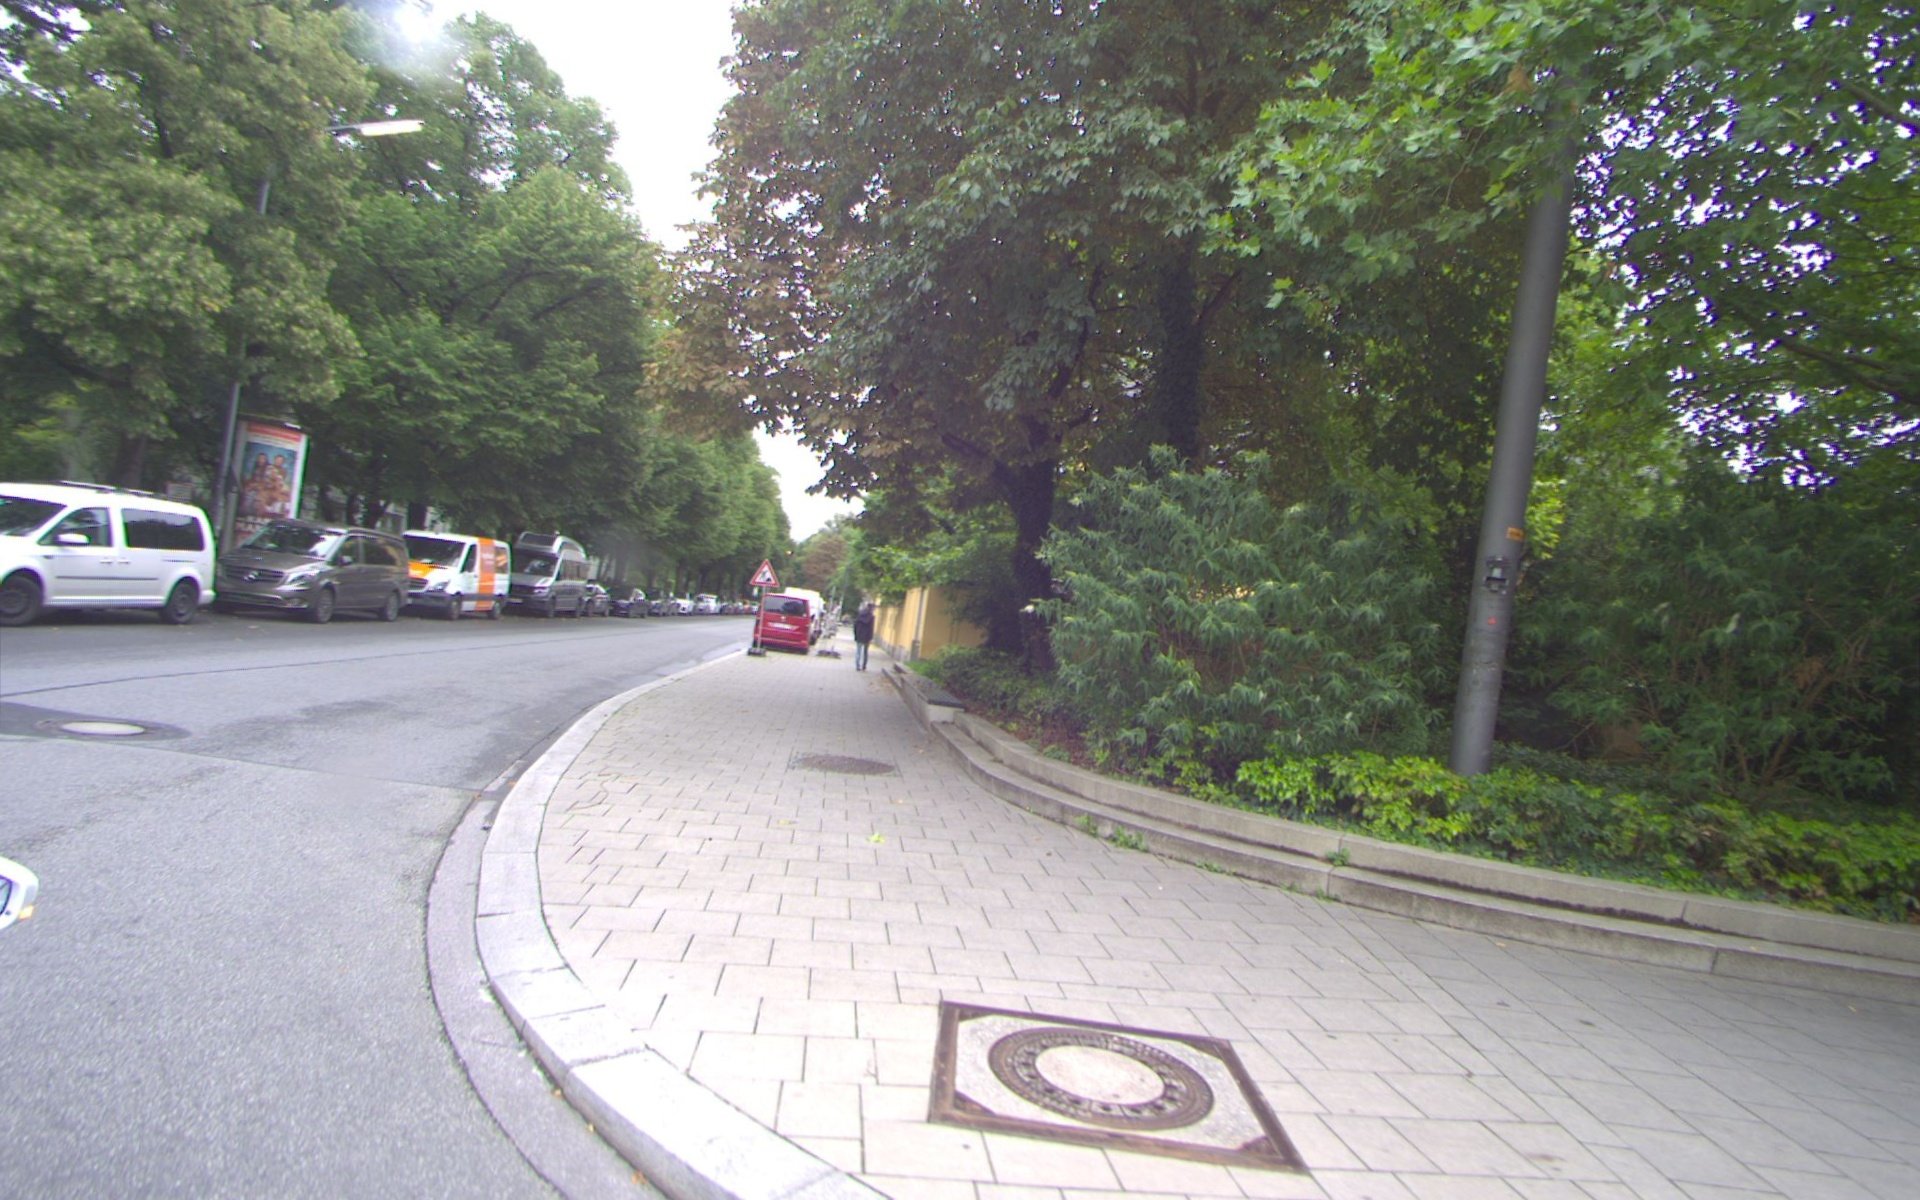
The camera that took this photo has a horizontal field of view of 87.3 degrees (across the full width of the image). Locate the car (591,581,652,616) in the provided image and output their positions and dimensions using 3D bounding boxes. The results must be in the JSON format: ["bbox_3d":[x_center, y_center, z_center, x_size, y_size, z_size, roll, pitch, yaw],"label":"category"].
[{"bbox_3d":[-16.086,-0.034,47.967,1.849,1.363,3.996,8,-2,-7],"label":"car"}]

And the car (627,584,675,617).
[{"bbox_3d":[-17.290,0.045,56.520,1.827,1.491,3.996,8,-1,-8],"label":"car"}]

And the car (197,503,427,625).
[{"bbox_3d":[-13.015,-0.617,20.686,1.862,1.956,5.201,7,-1,-9],"label":"car"}]

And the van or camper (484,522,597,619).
[{"bbox_3d":[-15.021,-0.931,36.474,1.973,2.980,6.005,7,-1,-7],"label":"van or camper"}]

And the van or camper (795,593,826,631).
[{"bbox_3d":[-12.212,0.993,82.279,2.085,2.765,5.239,7,-1,-7],"label":"van or camper"}]

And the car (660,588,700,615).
[{"bbox_3d":[-18.747,0.135,67.471,1.827,1.491,3.996,8,-1,-7],"label":"car"}]

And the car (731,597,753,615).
[{"bbox_3d":[-24.201,0.715,111.945,1.827,1.721,3.996,8,-1,-7],"label":"car"}]

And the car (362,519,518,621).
[{"bbox_3d":[-14.047,-0.706,27.588,1.919,2.299,5.238,7,-1,-7],"label":"car"}]

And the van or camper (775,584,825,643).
[{"bbox_3d":[-7.976,0.683,50.572,2.102,2.576,5.238,7,-1,-7],"label":"van or camper"}]

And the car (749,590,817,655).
[{"bbox_3d":[-6.078,0.759,35.056,1.963,1.860,4.709,7,-1,-8],"label":"car"}]

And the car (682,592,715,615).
[{"bbox_3d":[-20.121,0.295,77.480,1.827,1.491,3.996,8,-1,-7],"label":"car"}]

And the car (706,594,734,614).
[{"bbox_3d":[-21.413,0.383,89.971,1.827,1.491,3.996,8,-1,-7],"label":"car"}]

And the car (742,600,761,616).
[{"bbox_3d":[-24.988,0.956,120.637,1.827,1.590,3.996,8,-1,-7],"label":"car"}]

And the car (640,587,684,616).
[{"bbox_3d":[-18.196,0.103,61.548,1.827,1.491,3.996,8,-1,-7],"label":"car"}]

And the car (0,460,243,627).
[{"bbox_3d":[-12.322,-0.734,13.728,1.803,1.941,4.846,7,-1,-6],"label":"car"}]

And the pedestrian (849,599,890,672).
[{"bbox_3d":[-2.497,0.952,27.557,0.861,1.853,1.051,8,0,-7],"label":"pedestrian"}]

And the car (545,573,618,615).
[{"bbox_3d":[-15.858,-0.212,42.403,1.849,1.433,3.996,8,-2,-7],"label":"car"}]

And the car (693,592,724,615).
[{"bbox_3d":[-20.787,0.281,83.149,1.827,1.582,3.996,8,-1,-7],"label":"car"}]
